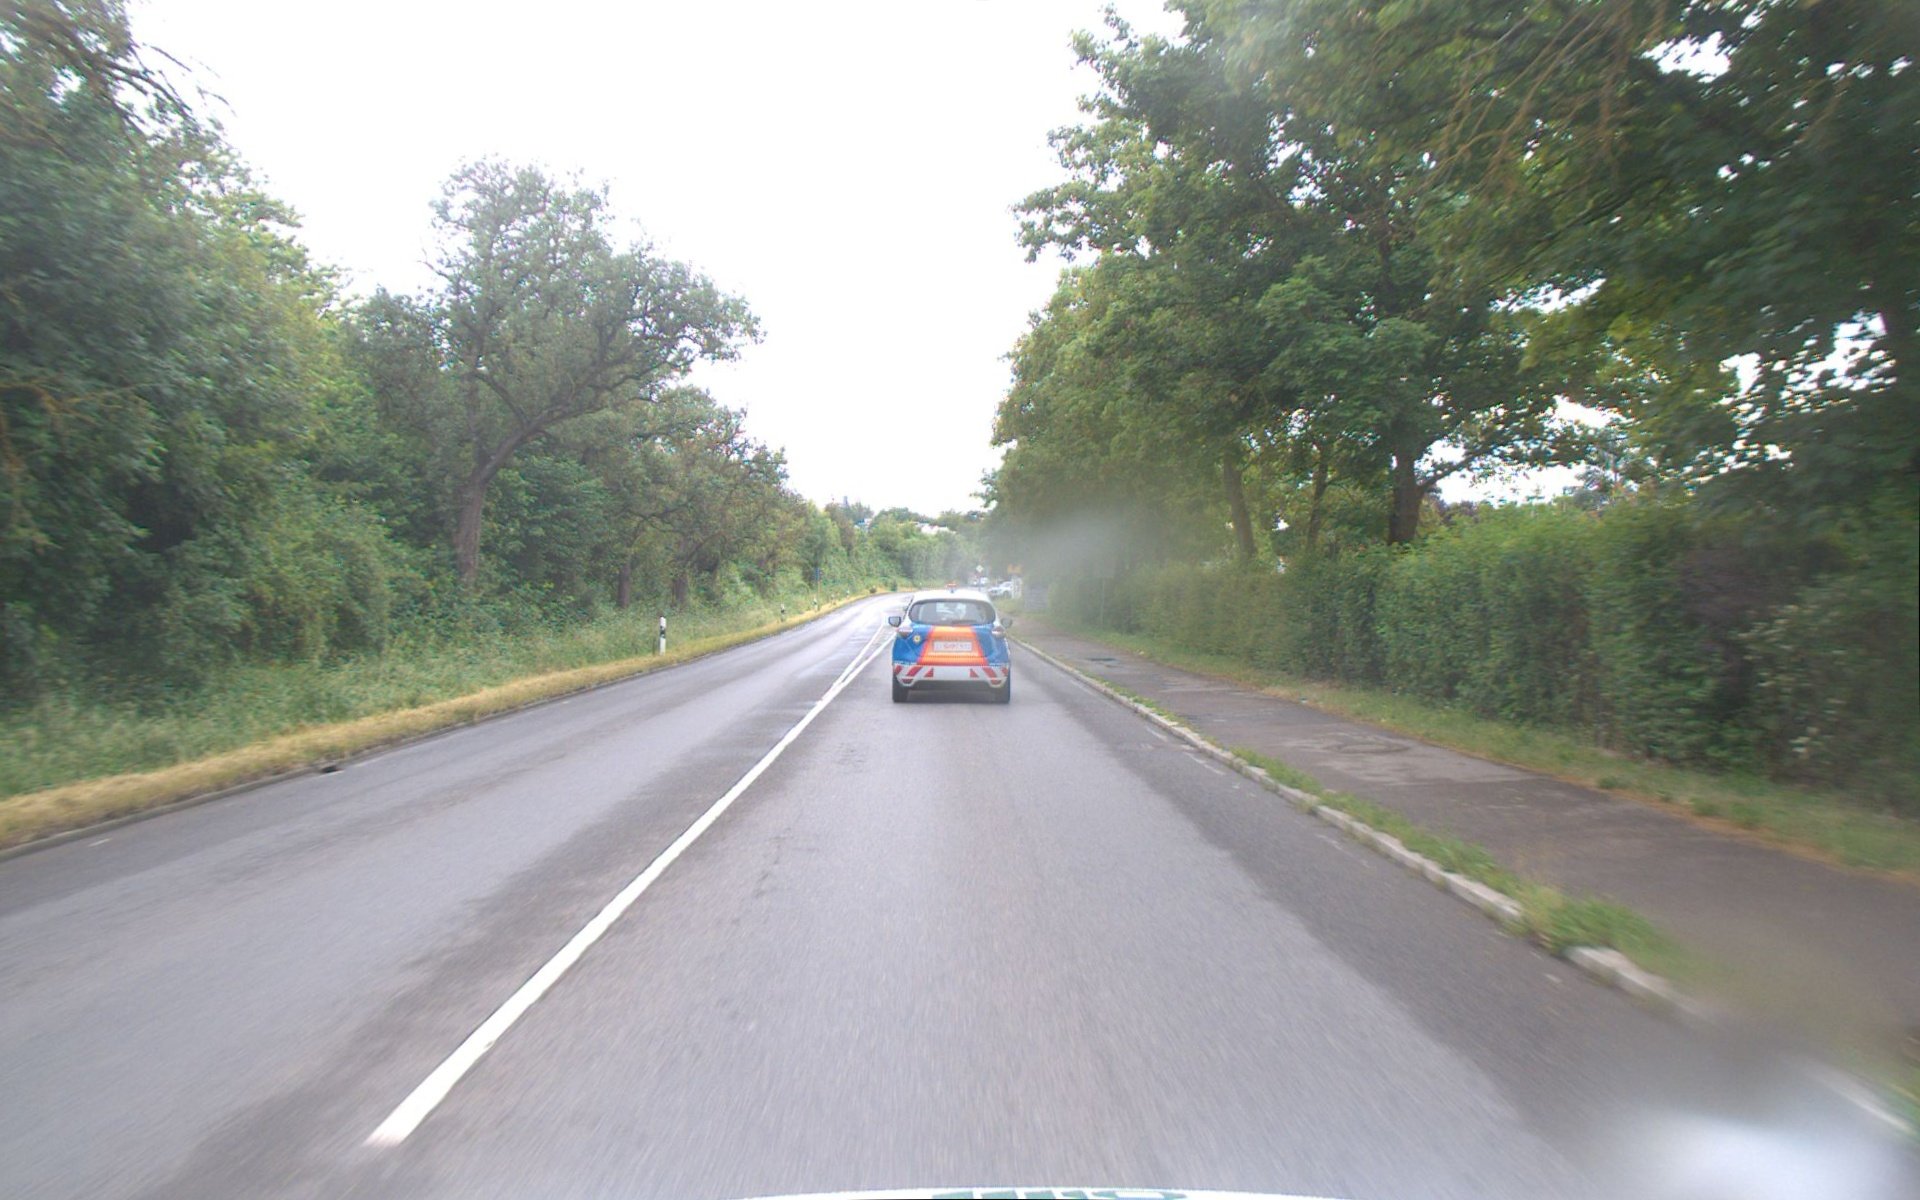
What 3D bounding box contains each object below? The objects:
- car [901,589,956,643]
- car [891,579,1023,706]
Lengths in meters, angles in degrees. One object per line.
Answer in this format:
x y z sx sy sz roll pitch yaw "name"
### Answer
-1.045 0.493 52.848 1.660 1.623 3.854 1 0 -2 "car"
-0.080 0.583 24.583 1.769 1.697 3.855 1 0 -1 "car"
